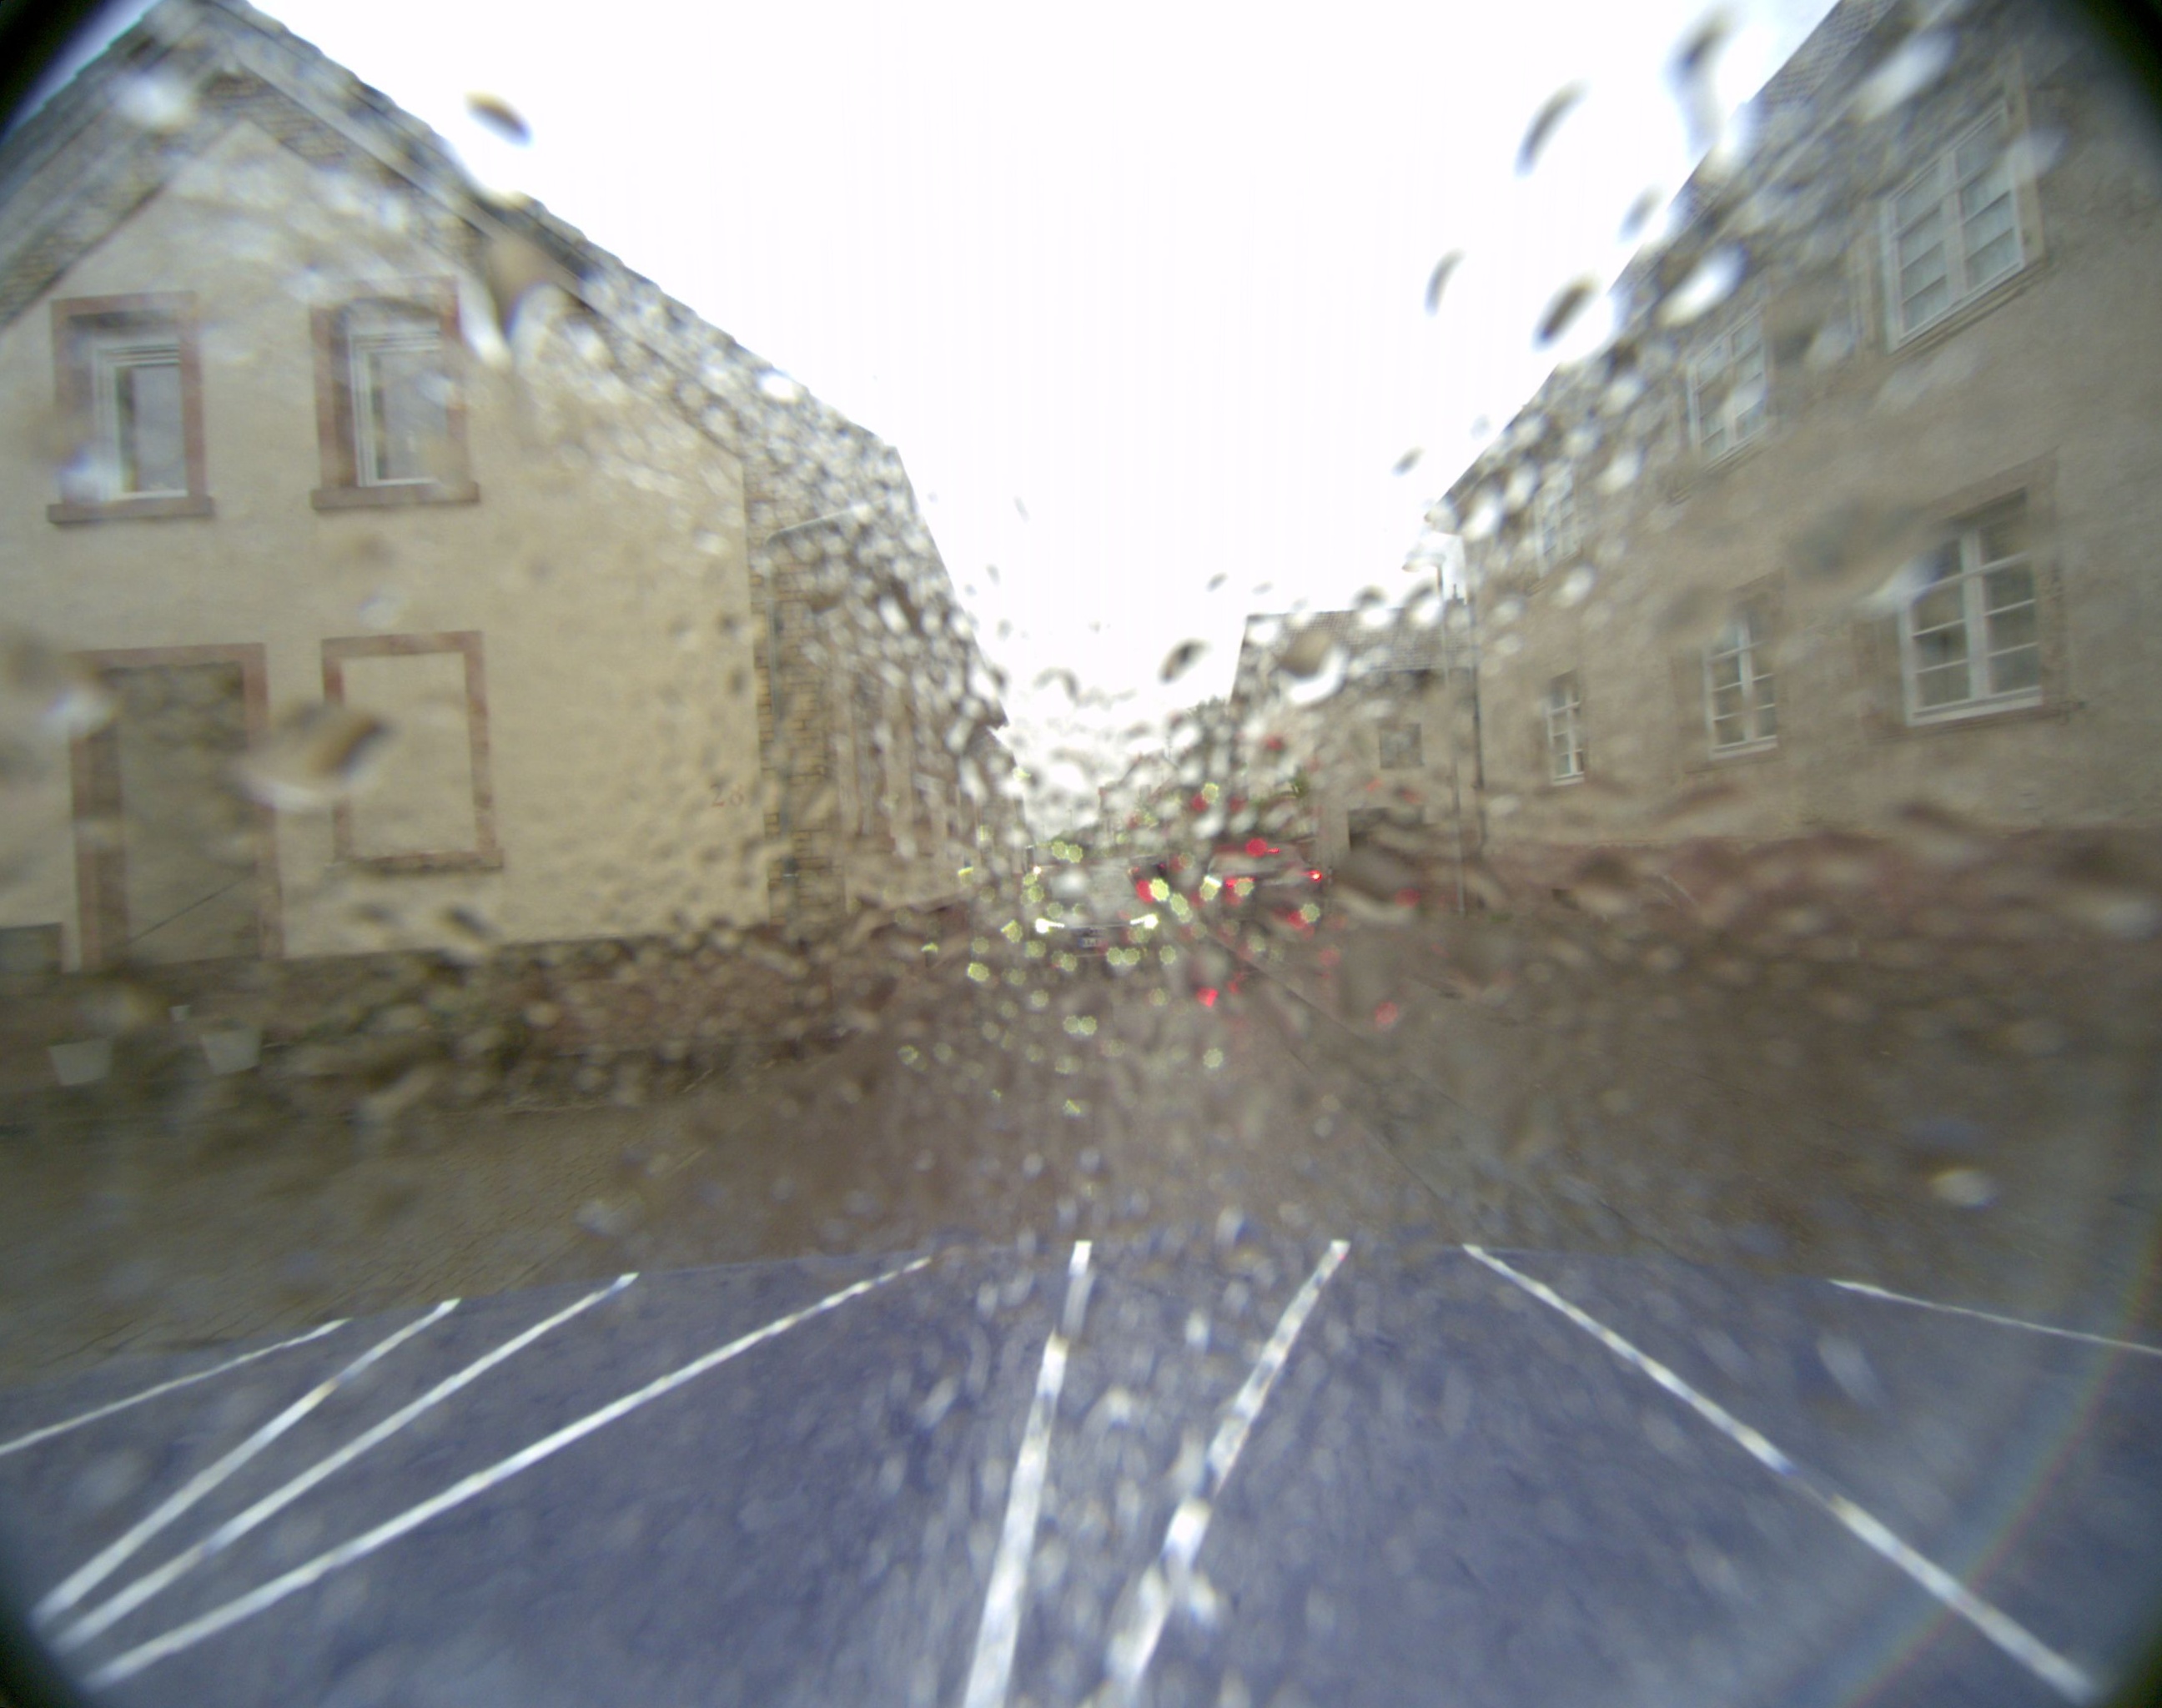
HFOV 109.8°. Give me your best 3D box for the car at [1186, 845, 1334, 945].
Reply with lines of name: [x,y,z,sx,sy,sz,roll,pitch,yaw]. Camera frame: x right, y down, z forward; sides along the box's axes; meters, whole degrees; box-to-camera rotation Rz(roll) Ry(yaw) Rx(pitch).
car: [3.373,0.698,15.198,1.837,1.546,4.239,-6,0,0]

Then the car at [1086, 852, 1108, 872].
car: [1.330,0.647,64.196,1.626,1.502,3.792,-6,0,0]

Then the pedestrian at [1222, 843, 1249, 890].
pedestrian: [5.270,0.416,25.967,0.573,1.529,0.833,-5,1,-4]

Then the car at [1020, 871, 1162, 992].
car: [0.074,1.029,11.678,1.739,1.362,4.101,-2,0,-2]

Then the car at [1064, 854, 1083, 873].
car: [-0.758,0.937,76.019,1.785,1.655,4.425,-5,1,-1]

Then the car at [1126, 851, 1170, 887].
car: [3.097,0.673,35.748,1.608,1.504,3.687,-4,0,0]

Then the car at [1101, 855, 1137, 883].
car: [2.237,0.858,45.192,1.700,1.500,4.340,-2,0,-2]

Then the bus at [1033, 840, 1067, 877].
bus: [-3.131,0.394,73.030,2.669,3.213,12.186,-2,0,-4]
